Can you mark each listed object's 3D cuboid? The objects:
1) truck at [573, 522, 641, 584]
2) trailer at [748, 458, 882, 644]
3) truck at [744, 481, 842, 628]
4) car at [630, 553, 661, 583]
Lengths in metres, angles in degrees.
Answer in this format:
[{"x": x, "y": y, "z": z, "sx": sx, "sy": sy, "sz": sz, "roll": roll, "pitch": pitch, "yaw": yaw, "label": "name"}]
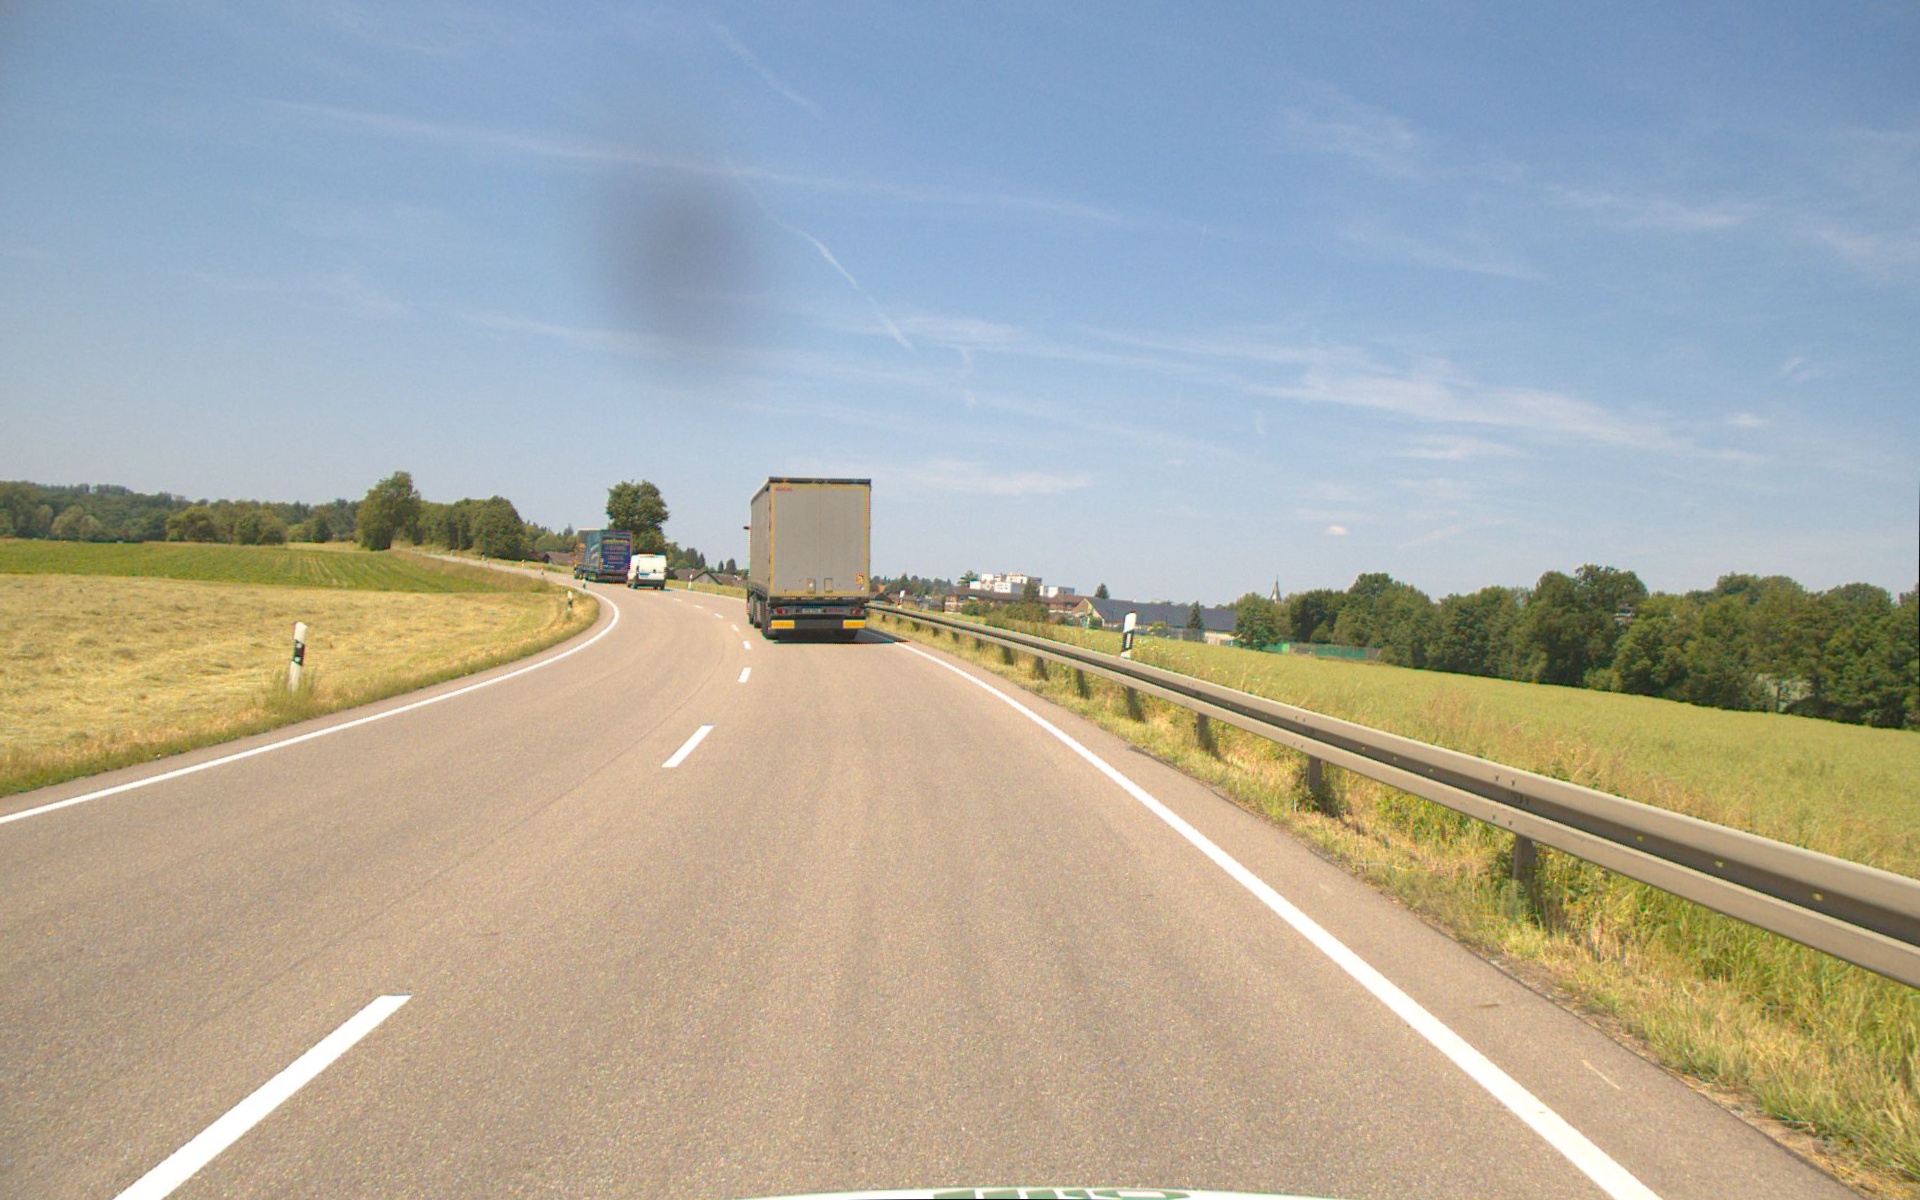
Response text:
[{"x": -28.681, "y": -3.674, "z": 133.667, "sx": 3.494, "sy": 4.469, "sz": 18.031, "roll": 3, "pitch": 0, "yaw": -18, "label": "truck"}, {"x": -4.350, "y": -1.295, "z": 46.695, "sx": 2.814, "sy": 4.477, "sz": 13.465, "roll": 0, "pitch": 1, "yaw": -9, "label": "trailer"}, {"x": -5.475, "y": -1.427, "z": 53.636, "sx": 2.807, "sy": 4.477, "sz": 5.061, "roll": 1, "pitch": 1, "yaw": -9, "label": "truck"}, {"x": -20.924, "y": -2.108, "z": 110.013, "sx": 1.696, "sy": 1.905, "sz": 3.985, "roll": 2, "pitch": 1, "yaw": -15, "label": "car"}]
